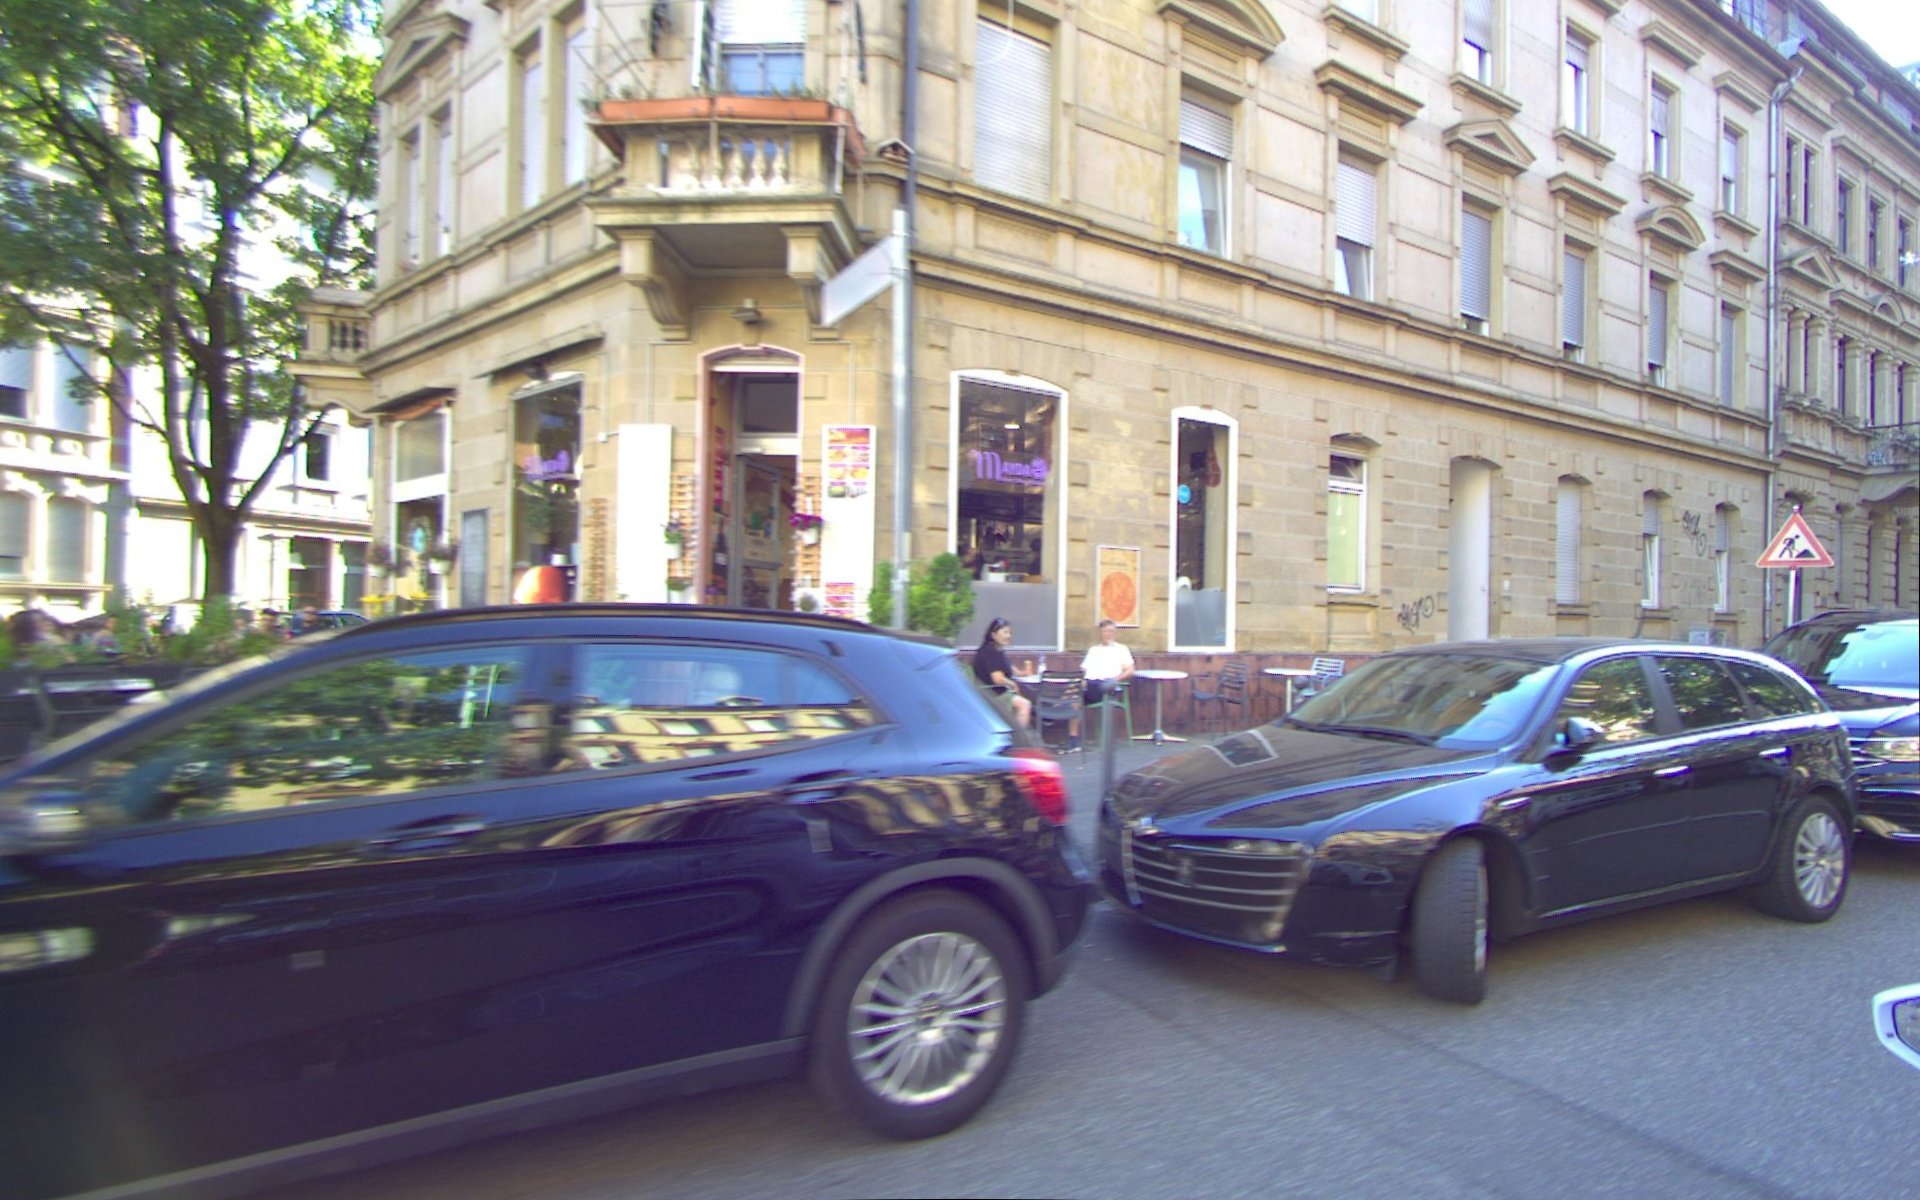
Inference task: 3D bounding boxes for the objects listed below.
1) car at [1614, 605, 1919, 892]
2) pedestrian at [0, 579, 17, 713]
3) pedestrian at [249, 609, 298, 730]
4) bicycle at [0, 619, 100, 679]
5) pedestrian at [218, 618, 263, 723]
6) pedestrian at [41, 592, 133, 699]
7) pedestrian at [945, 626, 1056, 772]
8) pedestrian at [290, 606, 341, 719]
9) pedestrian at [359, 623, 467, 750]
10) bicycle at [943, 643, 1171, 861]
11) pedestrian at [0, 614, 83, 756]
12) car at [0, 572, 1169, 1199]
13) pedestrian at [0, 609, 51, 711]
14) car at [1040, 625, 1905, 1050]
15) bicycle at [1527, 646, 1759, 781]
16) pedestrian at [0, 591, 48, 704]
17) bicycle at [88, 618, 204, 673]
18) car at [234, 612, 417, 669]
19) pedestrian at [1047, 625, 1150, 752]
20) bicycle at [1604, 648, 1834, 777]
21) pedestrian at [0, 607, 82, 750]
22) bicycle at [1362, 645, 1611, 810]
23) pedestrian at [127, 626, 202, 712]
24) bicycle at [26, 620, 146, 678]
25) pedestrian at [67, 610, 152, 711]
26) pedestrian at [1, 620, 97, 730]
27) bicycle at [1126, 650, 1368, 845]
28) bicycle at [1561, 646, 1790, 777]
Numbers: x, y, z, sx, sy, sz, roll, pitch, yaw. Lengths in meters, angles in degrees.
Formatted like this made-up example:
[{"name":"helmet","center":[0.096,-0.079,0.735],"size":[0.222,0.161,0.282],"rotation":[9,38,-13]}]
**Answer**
[{"name":"car","center":[7.047,0.894,7.423],"size":[4.493,1.621,1.752],"rotation":[1,-2,-28]},{"name":"pedestrian","center":[-13.259,0.621,13.423],"size":[0.755,1.793,0.570],"rotation":[0,-2,-19]},{"name":"pedestrian","center":[-8.096,0.800,11.850],"size":[0.430,1.385,0.476],"rotation":[1,-1,-40]},{"name":"bicycle","center":[-19.661,1.009,21.409],"size":[3.077,1.196,0.751],"rotation":[0,-1,24]},{"name":"pedestrian","center":[-8.947,0.859,12.495],"size":[0.429,1.265,0.477],"rotation":[0,-1,-34]},{"name":"pedestrian","center":[-12.205,0.632,14.068],"size":[0.755,1.460,0.665],"rotation":[0,-2,-19]},{"name":"pedestrian","center":[0.374,0.890,9.373],"size":[0.749,1.275,0.721],"rotation":[1,-1,-34]},{"name":"pedestrian","center":[-8.542,0.807,13.300],"size":[0.478,1.450,0.562],"rotation":[1,-1,-42]},{"name":"pedestrian","center":[-5.634,0.859,10.350],"size":[0.716,1.230,0.753],"rotation":[0,-1,39]},{"name":"bicycle","center":[0.560,0.899,6.605],"size":[0.522,1.143,1.859],"rotation":[2,0,-29]},{"name":"pedestrian","center":[-8.905,0.788,9.610],"size":[0.737,1.306,0.736],"rotation":[2,-1,-41]},{"name":"car","center":[-1.548,0.745,3.014],"size":[4.085,1.507,1.753],"rotation":[1,-2,-27]},{"name":"pedestrian","center":[-13.628,0.849,14.322],"size":[0.755,1.430,0.666],"rotation":[0,-2,-18]},{"name":"car","center":[2.791,0.903,5.294],"size":[4.491,1.471,1.753],"rotation":[1,-2,-27]},{"name":"bicycle","center":[6.740,1.081,9.990],"size":[1.843,1.143,0.526],"rotation":[2,0,36]},{"name":"pedestrian","center":[-14.502,0.724,15.309],"size":[0.759,1.691,0.662],"rotation":[1,-2,-33]},{"name":"bicycle","center":[-18.828,1.027,23.214],"size":[3.077,1.196,0.751],"rotation":[0,-1,24]},{"name":"car","center":[-17.027,1.066,27.153],"size":[1.893,1.394,3.749],"rotation":[0,-1,24]},{"name":"pedestrian","center":[1.409,0.873,10.253],"size":[0.749,1.230,0.721],"rotation":[1,-1,-34]},{"name":"bicycle","center":[7.915,1.124,10.573],"size":[0.522,1.143,1.858],"rotation":[2,0,-31]},{"name":"pedestrian","center":[-9.637,0.790,10.433],"size":[0.723,1.429,0.747],"rotation":[2,-1,-43]},{"name":"bicycle","center":[4.340,0.996,8.446],"size":[0.522,1.143,1.859],"rotation":[2,0,-29]},{"name":"pedestrian","center":[-11.681,0.997,14.765],"size":[0.667,1.231,0.665],"rotation":[0,-2,-21]},{"name":"bicycle","center":[-19.330,1.054,22.186],"size":[3.077,1.196,0.751],"rotation":[0,-1,24]},{"name":"pedestrian","center":[-12.664,0.885,14.980],"size":[0.755,1.460,0.665],"rotation":[0,-2,-19]},{"name":"pedestrian","center":[-10.966,0.874,12.119],"size":[0.741,1.265,0.700],"rotation":[1,-1,-34]},{"name":"bicycle","center":[2.011,0.989,7.334],"size":[0.522,1.143,1.859],"rotation":[2,0,-29]},{"name":"bicycle","center":[7.267,1.089,10.281],"size":[1.843,1.143,0.526],"rotation":[2,0,36]}]
